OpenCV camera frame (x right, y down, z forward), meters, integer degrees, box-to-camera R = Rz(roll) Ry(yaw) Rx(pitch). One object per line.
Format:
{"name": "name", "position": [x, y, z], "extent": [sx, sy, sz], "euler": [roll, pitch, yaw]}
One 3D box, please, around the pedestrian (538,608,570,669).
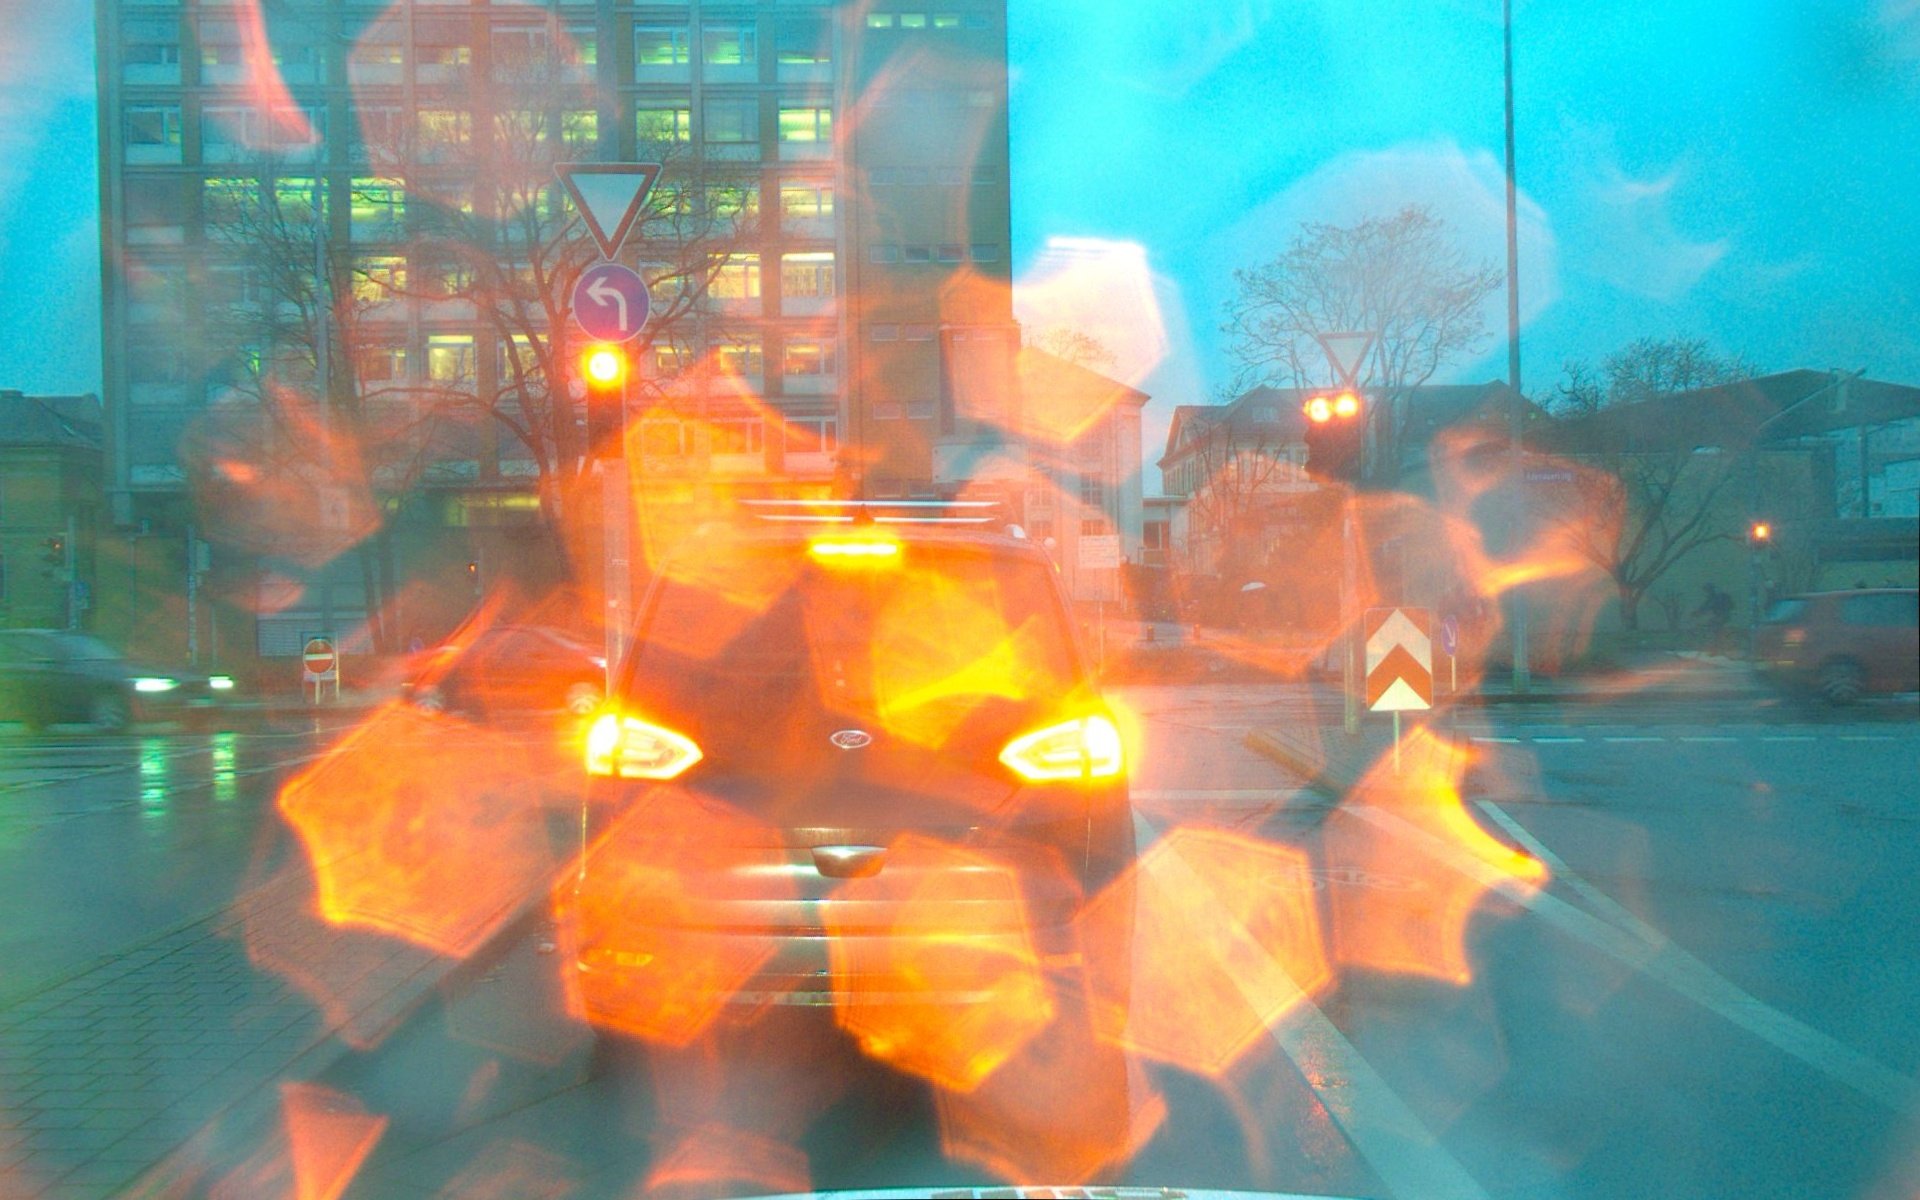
{"name": "pedestrian", "position": [-11.748, 1.106, 47.893], "extent": [0.625, 1.718, 0.637], "euler": [-2, 0, 16]}

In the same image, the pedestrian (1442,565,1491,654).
{"name": "pedestrian", "position": [12.580, 0.225, 41.095], "extent": [0.875, 2.150, 0.886], "euler": [-2, 0, -1]}

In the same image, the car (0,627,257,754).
{"name": "car", "position": [-12.130, 1.238, 22.921], "extent": [4.035, 1.610, 1.843], "euler": [-2, -1, 12]}

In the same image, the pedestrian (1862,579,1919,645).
{"name": "pedestrian", "position": [22.621, 0.286, 40.102], "extent": [0.905, 1.559, 1.043], "euler": [-2, 0, 0]}

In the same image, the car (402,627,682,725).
{"name": "car", "position": [-6.234, 1.128, 24.812], "extent": [3.674, 1.324, 1.702], "euler": [-2, -1, 14]}

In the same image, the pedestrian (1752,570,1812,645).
{"name": "pedestrian", "position": [20.449, 0.177, 41.169], "extent": [0.976, 1.831, 0.919], "euler": [-2, 0, 0]}

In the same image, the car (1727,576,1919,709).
{"name": "car", "position": [12.405, 0.508, 21.459], "extent": [4.036, 1.610, 1.843], "euler": [-2, -1, 8]}

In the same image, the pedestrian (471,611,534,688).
{"name": "pedestrian", "position": [-11.774, 1.274, 42.605], "extent": [0.981, 1.874, 1.139], "euler": [-2, 2, 22]}

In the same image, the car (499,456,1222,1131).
{"name": "car", "position": [-0.296, 0.542, 6.536], "extent": [1.953, 1.821, 3.999], "euler": [1, 0, -1]}

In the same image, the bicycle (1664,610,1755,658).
{"name": "bicycle", "position": [17.740, 0.805, 39.171], "extent": [1.843, 1.066, 0.660], "euler": [-2, 0, 4]}

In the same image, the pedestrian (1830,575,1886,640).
{"name": "pedestrian", "position": [22.382, 0.177, 41.219], "extent": [0.875, 1.559, 0.886], "euler": [-2, 0, 0]}

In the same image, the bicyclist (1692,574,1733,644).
{"name": "bicyclist", "position": [17.813, 0.207, 39.162], "extent": [0.670, 1.627, 0.660], "euler": [-2, 0, 5]}

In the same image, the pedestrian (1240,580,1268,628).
{"name": "pedestrian", "position": [10.358, 0.128, 58.239], "extent": [0.706, 1.656, 0.760], "euler": [-2, 0, 32]}
